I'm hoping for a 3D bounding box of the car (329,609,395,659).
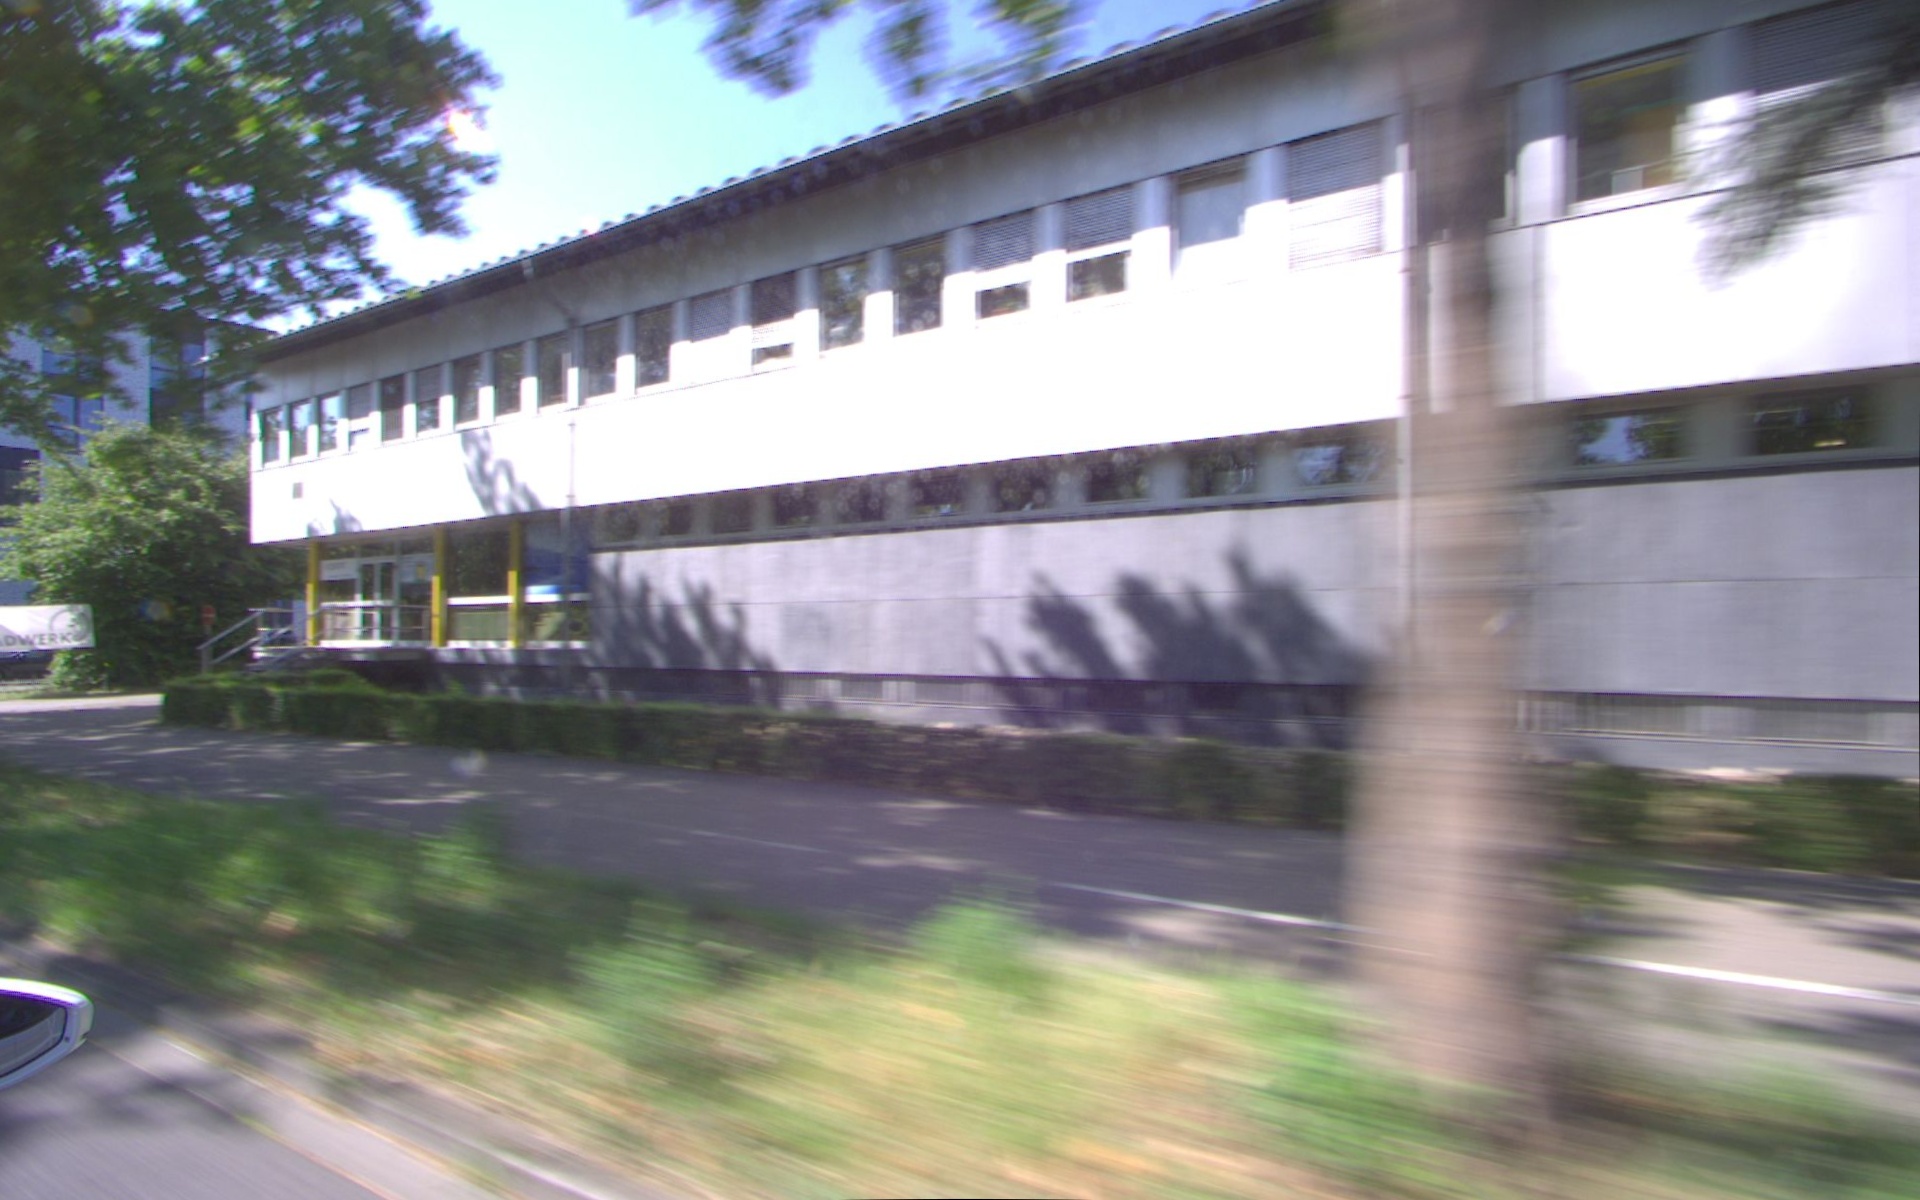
[{"bbox_3d":[-21.635,1.215,36.324,1.655,1.683,3.734,-2,0,-26],"label":"car"}]

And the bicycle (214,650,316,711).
[{"bbox_3d":[-14.402,1.650,20.794,0.503,1.145,1.662,-1,0,41],"label":"bicycle"}]

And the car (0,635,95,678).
[{"bbox_3d":[-34.578,2.040,36.582,1.976,1.536,4.232,-1,-2,39],"label":"car"}]
